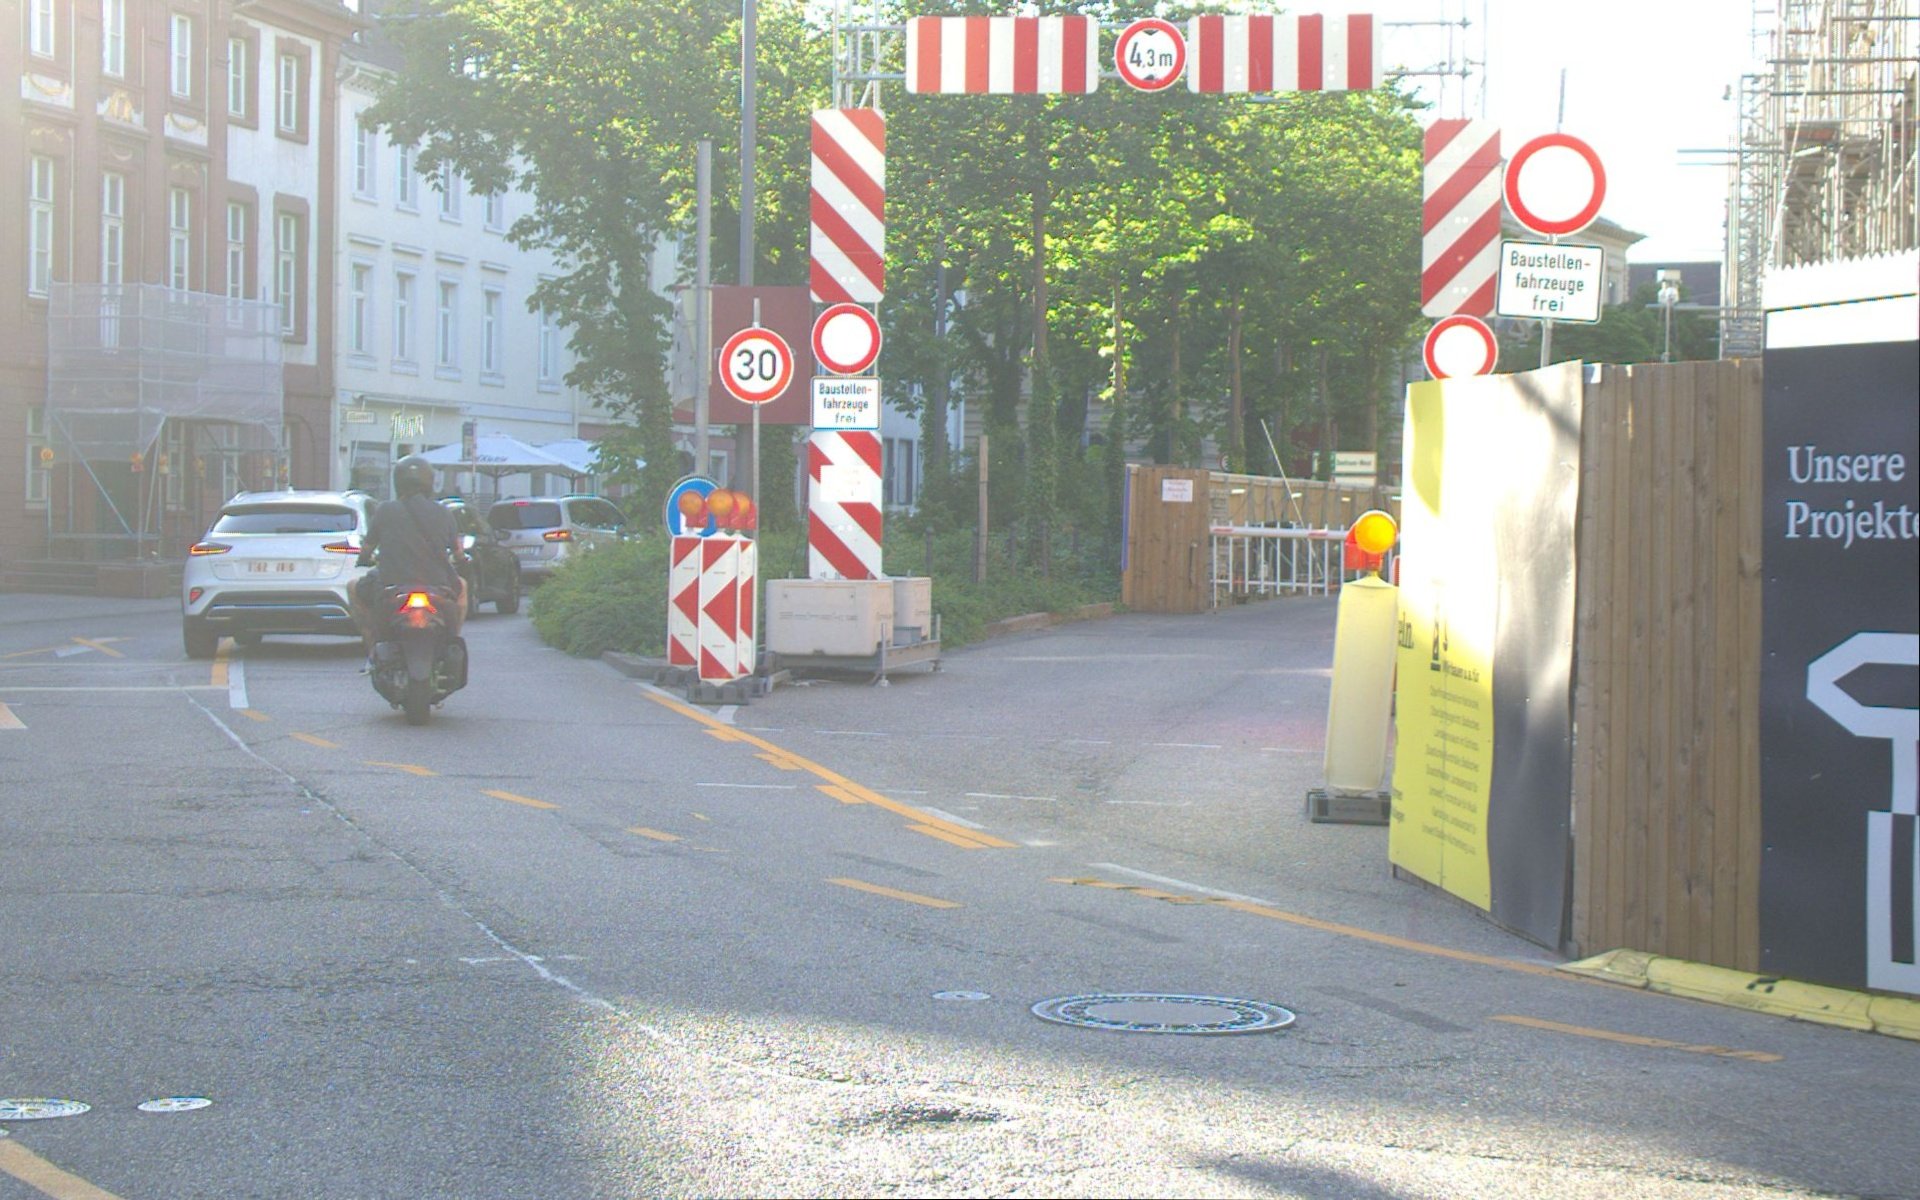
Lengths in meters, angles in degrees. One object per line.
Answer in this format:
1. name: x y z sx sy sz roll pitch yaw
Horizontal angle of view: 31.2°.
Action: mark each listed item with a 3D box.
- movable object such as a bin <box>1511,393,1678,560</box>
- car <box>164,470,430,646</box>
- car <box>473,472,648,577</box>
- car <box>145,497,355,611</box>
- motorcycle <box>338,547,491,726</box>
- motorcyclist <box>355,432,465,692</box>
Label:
1. movable object such as a bin: 18.123 -3.454 97.852 3.310 4.523 7.897 0 1 21
2. car: -6.036 -0.426 31.713 1.850 1.475 4.058 1 2 -3
3. car: -6.927 -1.326 59.985 1.841 1.707 4.056 2 2 11
4. car: -9.700 -0.664 47.267 1.840 1.458 4.057 2 2 3
5. motorcycle: -3.535 0.214 22.174 0.796 1.062 1.726 1 2 -14
6. motorcyclist: -3.561 -0.251 22.227 0.657 1.645 0.651 1 2 -10
